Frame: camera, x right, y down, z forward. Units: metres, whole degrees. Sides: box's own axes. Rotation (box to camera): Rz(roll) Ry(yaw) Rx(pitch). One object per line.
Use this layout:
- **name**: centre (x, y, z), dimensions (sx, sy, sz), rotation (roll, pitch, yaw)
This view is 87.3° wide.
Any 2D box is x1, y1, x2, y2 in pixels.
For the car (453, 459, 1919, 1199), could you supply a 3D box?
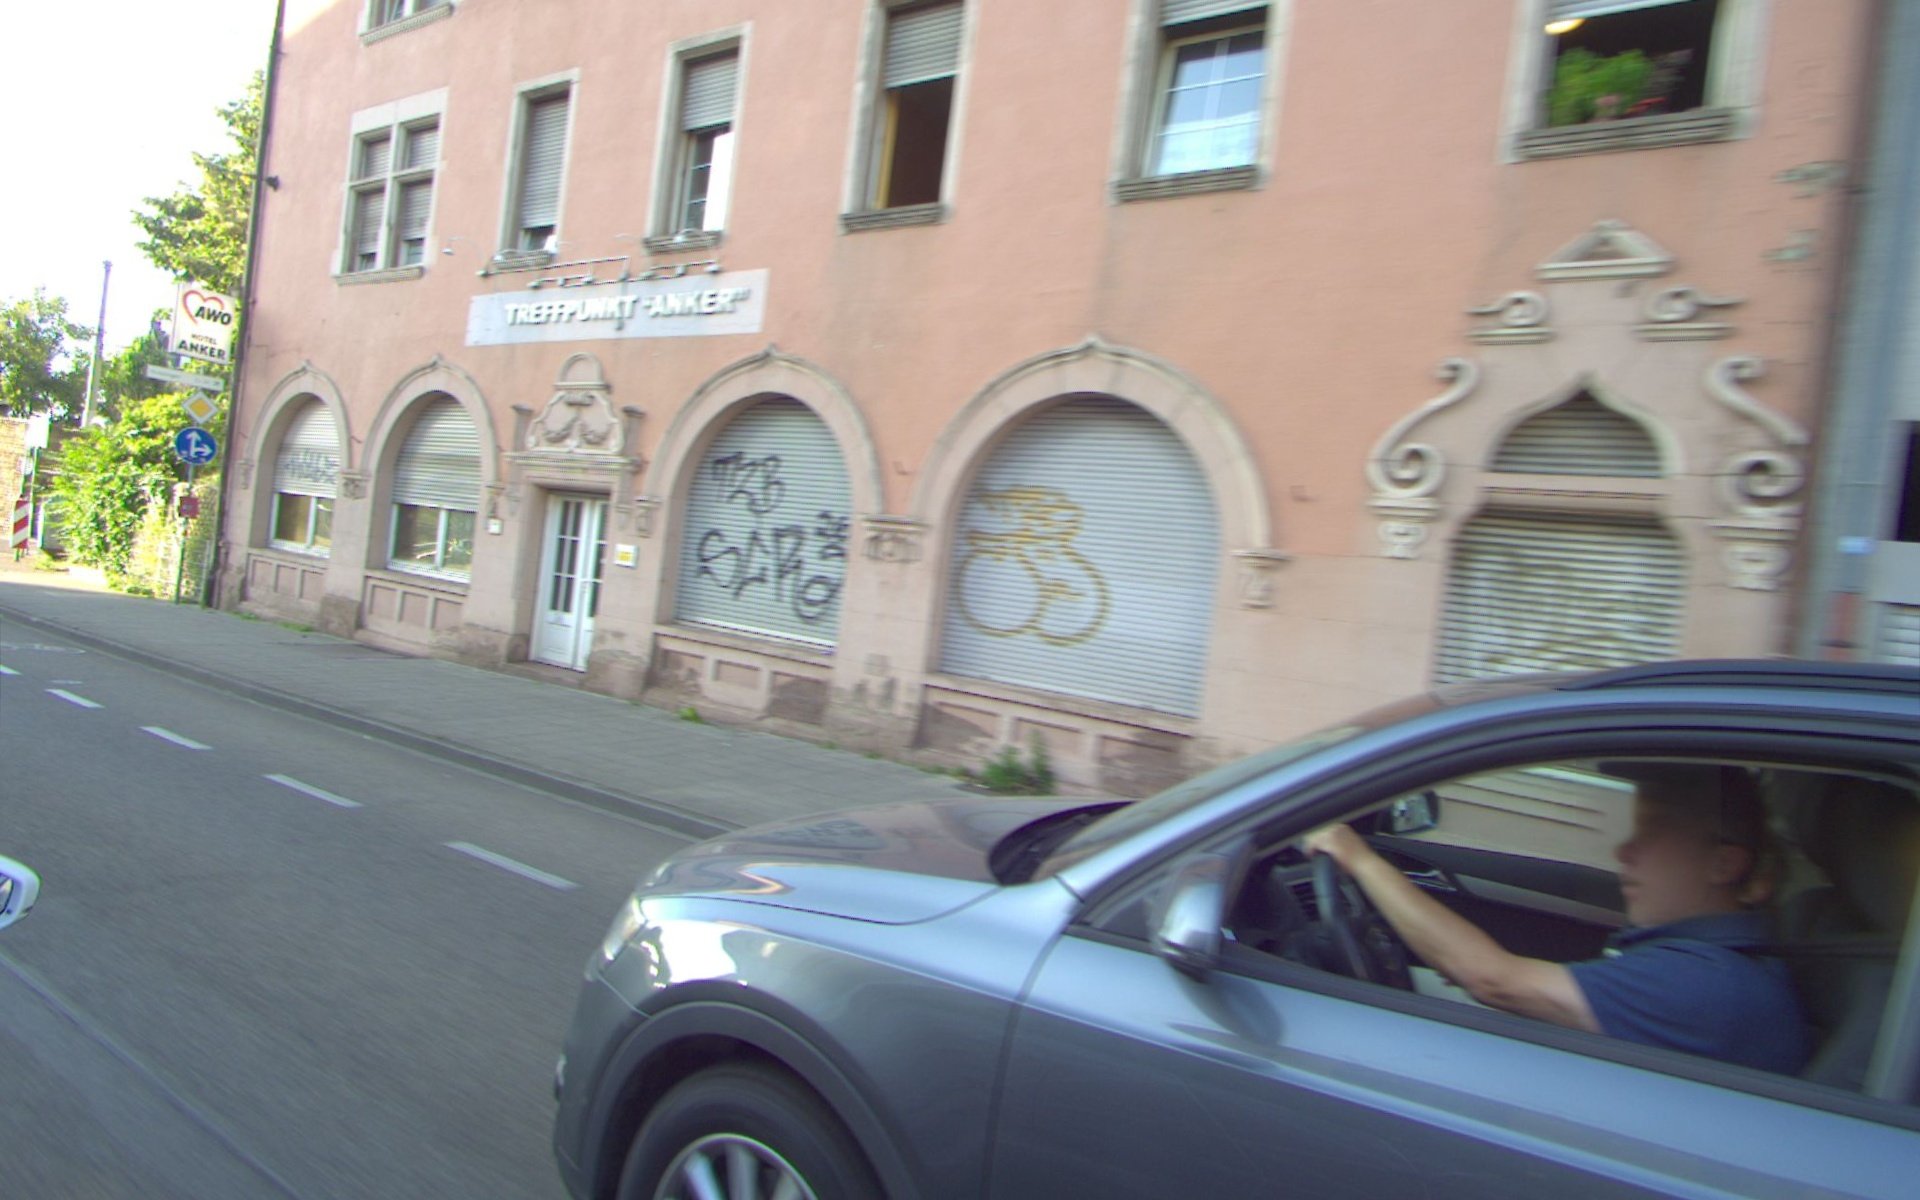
- **car**: centre (1.192, 0.818, 1.746), dimensions (4.000, 1.606, 1.769), rotation (8, 0, 32)
